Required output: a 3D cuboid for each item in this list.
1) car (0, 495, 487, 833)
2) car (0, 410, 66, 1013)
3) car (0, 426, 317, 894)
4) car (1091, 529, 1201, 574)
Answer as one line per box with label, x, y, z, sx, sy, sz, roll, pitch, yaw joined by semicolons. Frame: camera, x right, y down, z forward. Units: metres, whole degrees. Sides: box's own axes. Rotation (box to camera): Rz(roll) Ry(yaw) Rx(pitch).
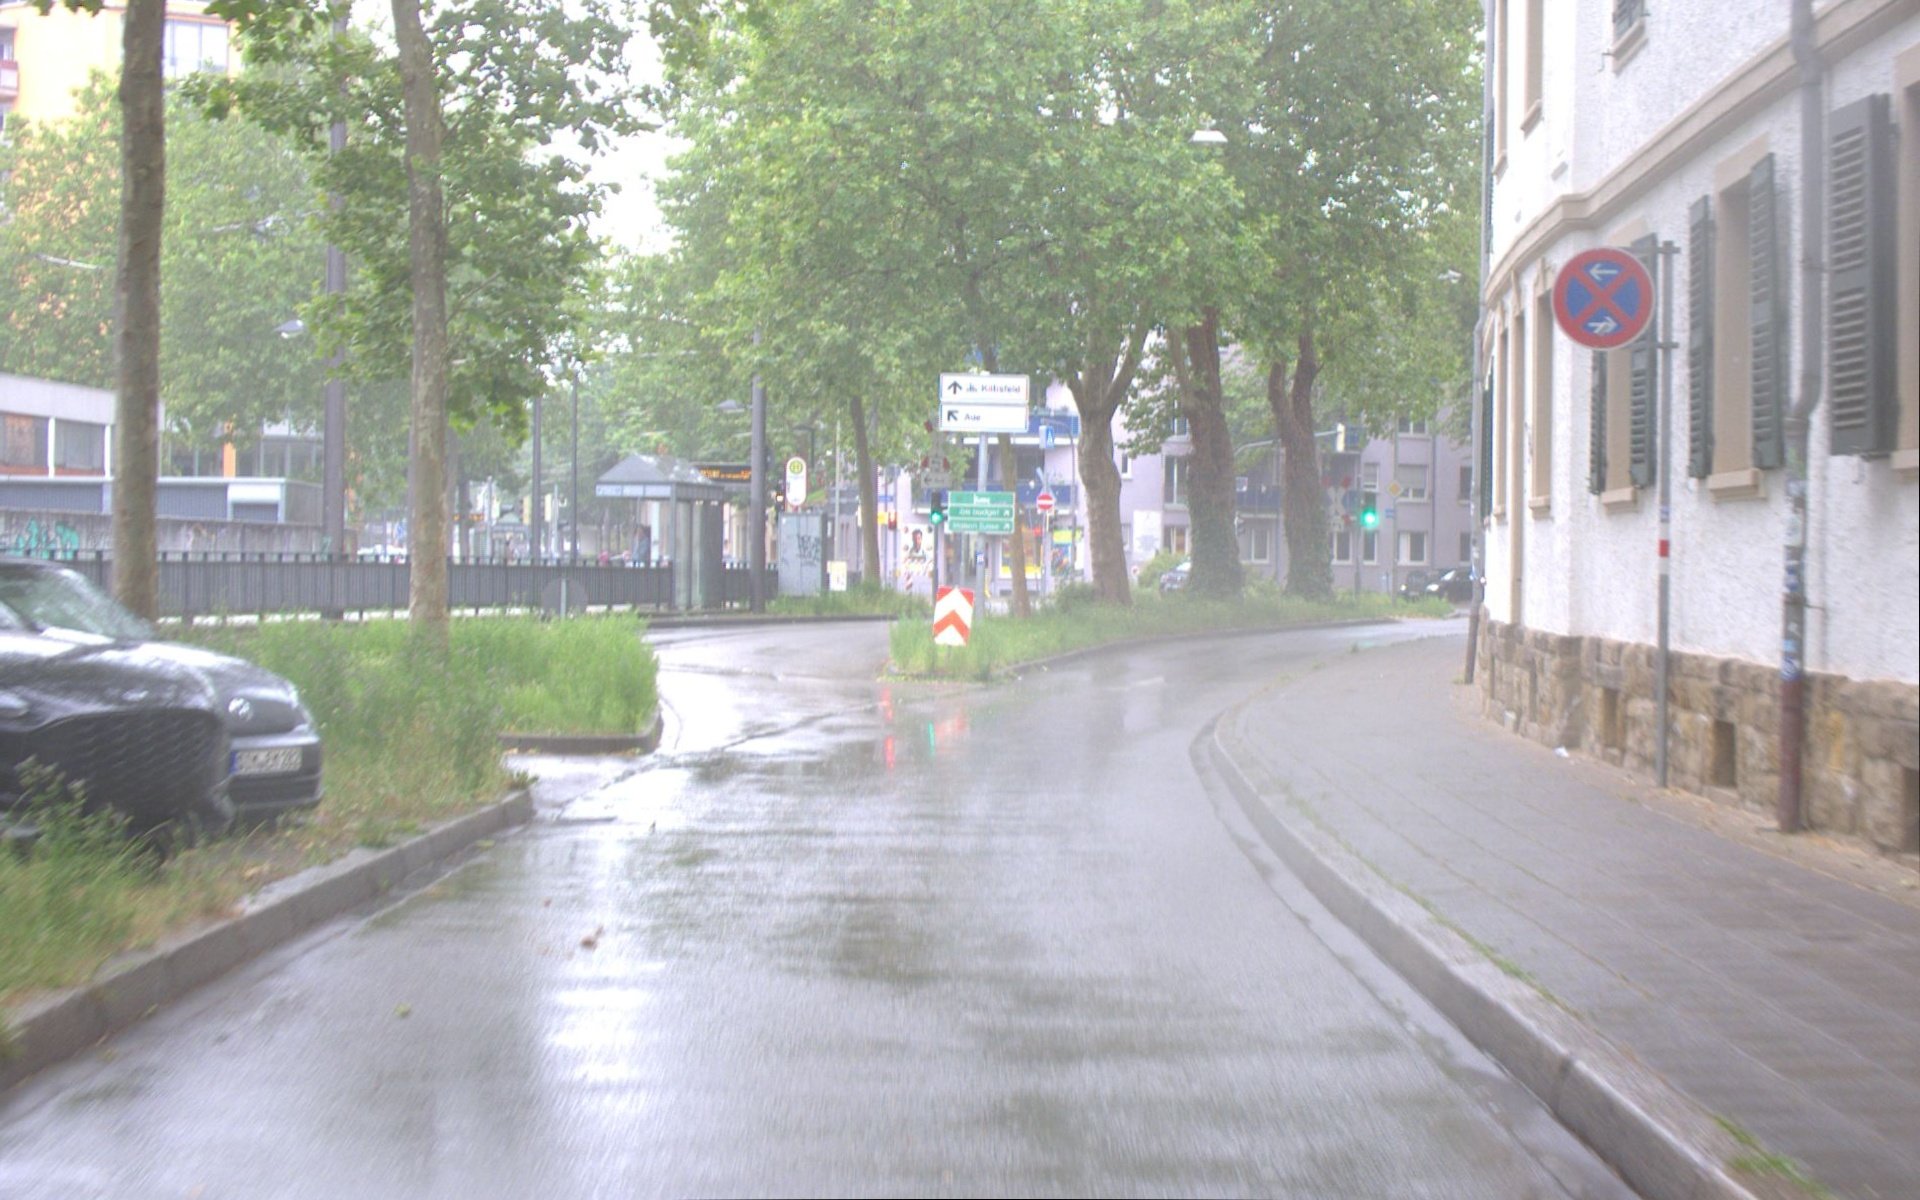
car;-4.829;0.286;17.889;4.358;1.507;1.958;0;3;30
car;-4.746;0.303;9.173;4.553;1.515;1.920;0;1;31
car;-5.147;0.204;14.554;4.525;1.708;1.958;0;3;30
car;7.214;-1.872;132.836;3.989;1.592;1.999;1;1;-43
